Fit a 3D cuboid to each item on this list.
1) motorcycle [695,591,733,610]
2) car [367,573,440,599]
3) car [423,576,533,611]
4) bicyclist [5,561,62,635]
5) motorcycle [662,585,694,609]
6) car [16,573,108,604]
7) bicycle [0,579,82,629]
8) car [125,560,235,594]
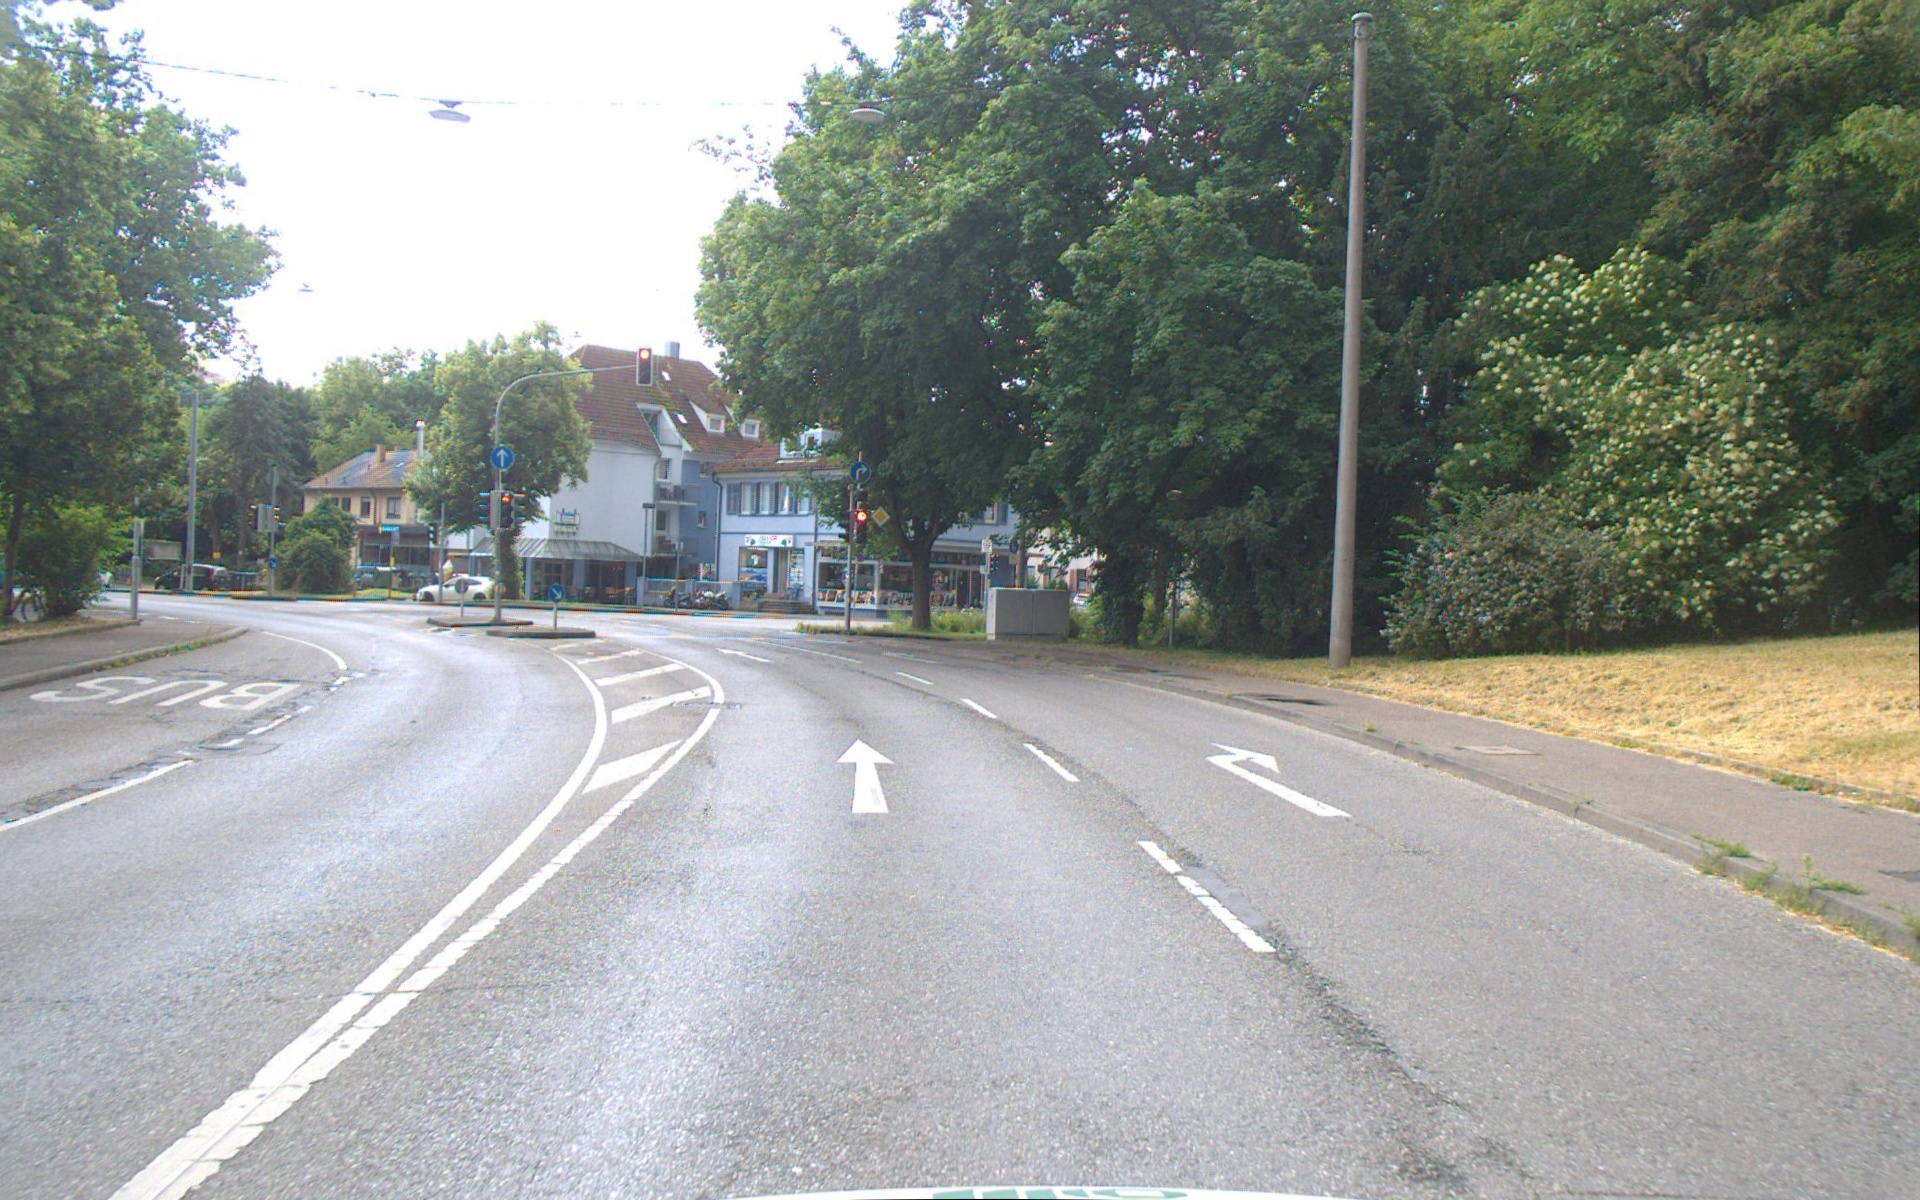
[{"bbox_3d":[-12.368,0.010,83.013,1.797,0.862,0.561,1,5,15],"label":"motorcycle"},{"bbox_3d":[-34.514,-0.859,102.695,3.963,1.512,1.734,0,0,-41],"label":"car"},{"bbox_3d":[-22.261,-0.295,76.435,4.480,1.544,2.002,1,0,13],"label":"car"},{"bbox_3d":[-21.173,-0.049,37.787,1.088,1.627,0.931,2,0,-31],"label":"bicyclist"},{"bbox_3d":[-14.327,-0.164,84.148,1.463,1.126,0.561,0,5,11],"label":"motorcycle"},{"bbox_3d":[-48.450,-0.644,89.296,3.902,1.601,2.001,1,0,6],"label":"car"},{"bbox_3d":[-21.229,0.082,37.765,2.049,1.101,0.931,2,0,-31],"label":"bicycle"},{"bbox_3d":[-37.596,-1.107,79.755,4.480,1.544,2.002,1,0,13],"label":"car"}]
